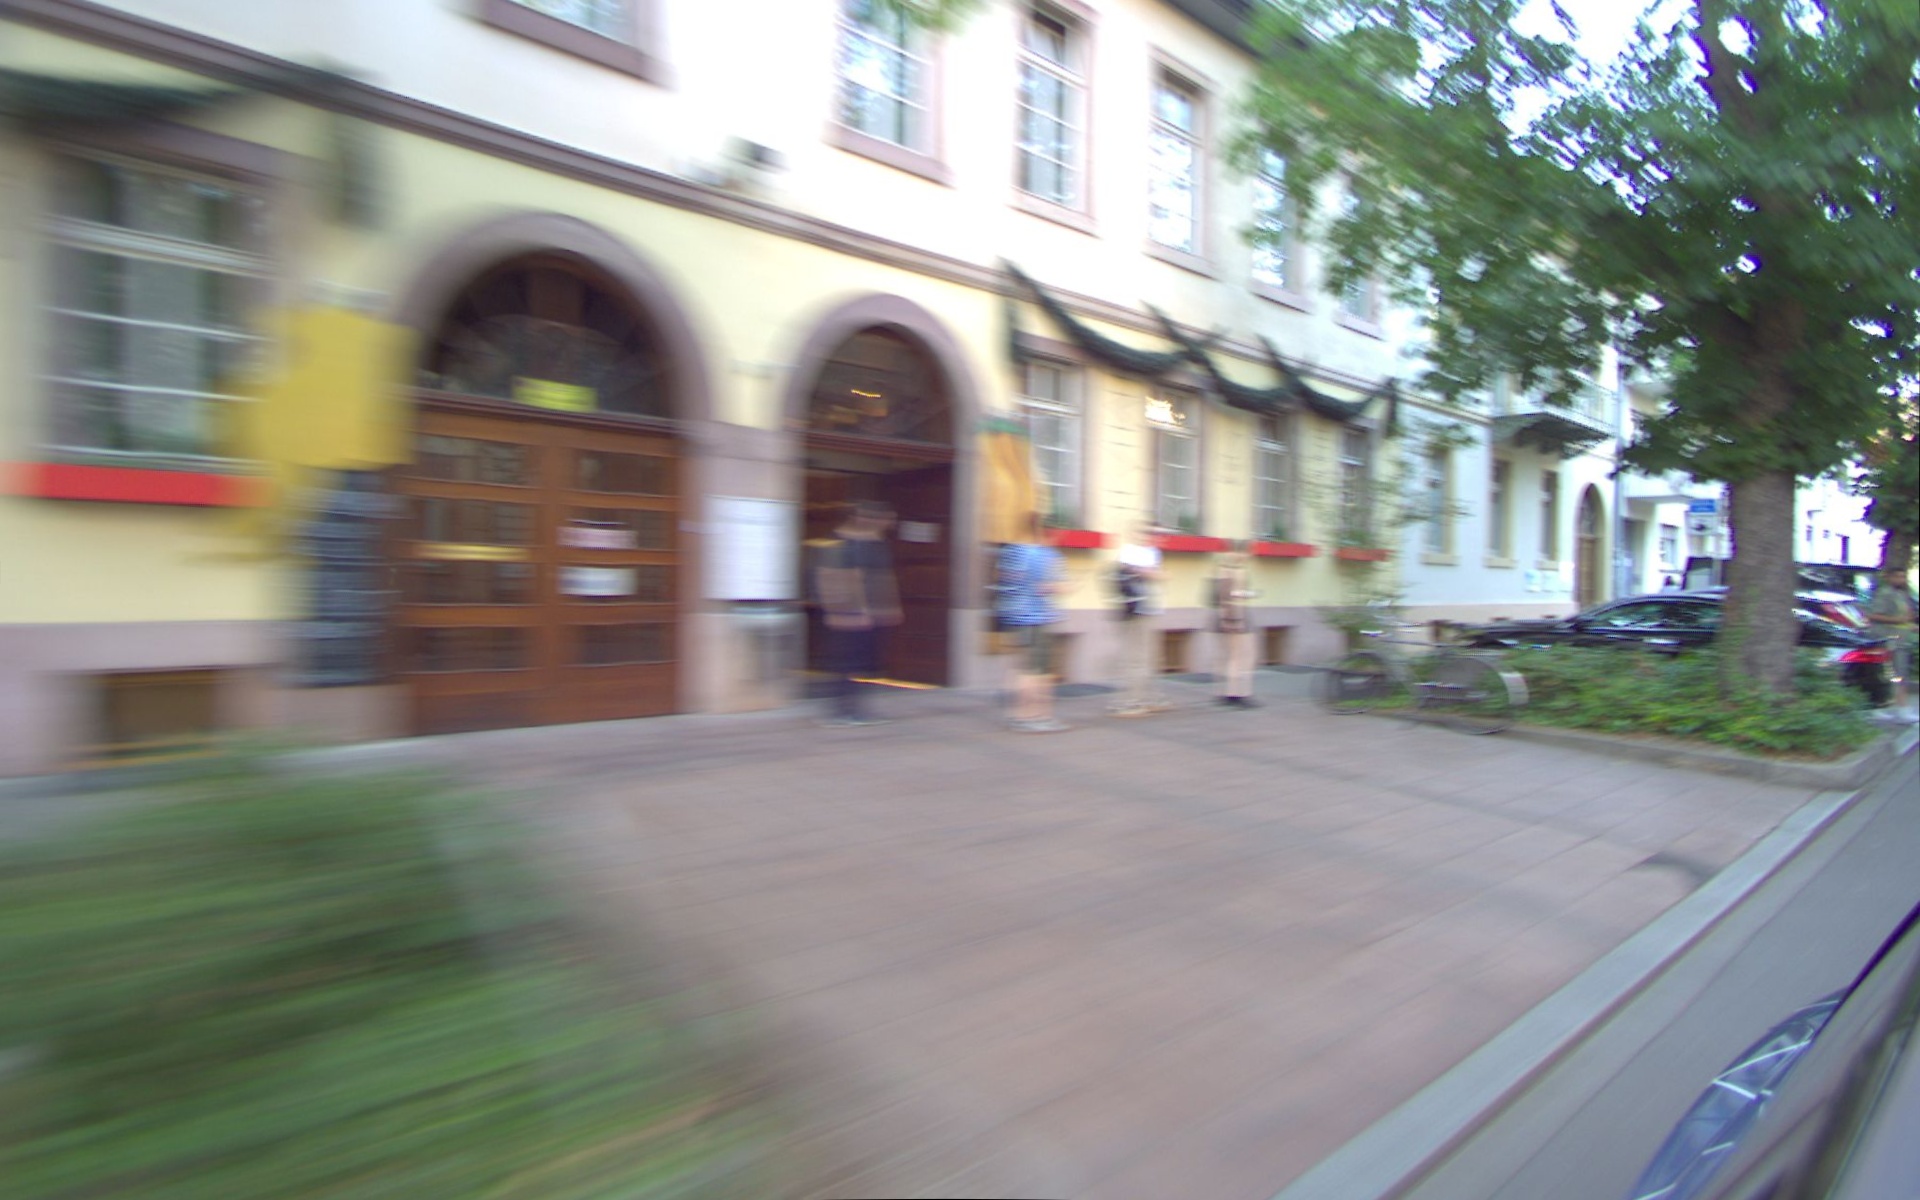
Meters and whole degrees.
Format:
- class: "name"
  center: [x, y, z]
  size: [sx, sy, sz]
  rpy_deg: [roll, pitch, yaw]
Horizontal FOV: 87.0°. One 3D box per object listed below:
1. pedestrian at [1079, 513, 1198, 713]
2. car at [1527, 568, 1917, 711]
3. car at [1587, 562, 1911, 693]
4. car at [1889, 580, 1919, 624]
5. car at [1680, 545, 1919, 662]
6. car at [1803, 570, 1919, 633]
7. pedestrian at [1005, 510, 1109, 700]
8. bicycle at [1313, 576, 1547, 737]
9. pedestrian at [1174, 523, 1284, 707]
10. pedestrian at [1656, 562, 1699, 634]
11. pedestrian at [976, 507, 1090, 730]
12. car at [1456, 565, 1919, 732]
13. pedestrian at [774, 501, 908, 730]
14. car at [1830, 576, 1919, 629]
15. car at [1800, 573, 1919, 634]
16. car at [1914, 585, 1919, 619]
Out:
- class: "pedestrian"
  center: [1.630, 0.107, 9.325]
  size: [0.732, 1.760, 0.716]
  rpy_deg: [2, 2, -21]
- class: "car"
  center: [10.456, 0.409, 14.110]
  size: [1.894, 1.454, 3.995]
  rpy_deg: [-1, 5, -42]
- class: "car"
  center: [12.311, 0.324, 15.972]
  size: [1.684, 1.597, 3.690]
  rpy_deg: [0, 5, -40]
- class: "car"
  center: [37.632, 0.102, 37.793]
  size: [1.926, 1.637, 4.118]
  rpy_deg: [0, 2, -40]
- class: "car"
  center: [17.876, 0.018, 20.687]
  size: [2.002, 2.035, 4.700]
  rpy_deg: [0, 5, -41]
- class: "car"
  center: [27.403, 0.101, 29.047]
  size: [1.911, 1.597, 4.600]
  rpy_deg: [-1, 5, -42]
- class: "pedestrian"
  center: [0.930, 0.039, 9.866]
  size: [0.729, 1.760, 0.729]
  rpy_deg: [2, 2, -14]
- class: "bicycle"
  center: [4.296, 0.456, 9.342]
  size: [1.793, 1.247, 0.664]
  rpy_deg: [5, 4, 40]
- class: "pedestrian"
  center: [2.702, 0.127, 10.180]
  size: [0.713, 1.760, 0.708]
  rpy_deg: [1, 2, -39]
- class: "pedestrian"
  center: [16.641, -0.052, 23.478]
  size: [0.724, 1.619, 0.670]
  rpy_deg: [0, 0, -41]
- class: "pedestrian"
  center: [0.605, 0.133, 8.412]
  size: [0.612, 1.760, 0.616]
  rpy_deg: [1, 2, -41]
- class: "car"
  center: [8.761, 0.422, 12.395]
  size: [1.854, 1.410, 4.409]
  rpy_deg: [-1, 5, -42]
- class: "pedestrian"
  center: [-0.975, 0.098, 8.291]
  size: [0.773, 1.760, 0.676]
  rpy_deg: [4, 2, 33]
- class: "car"
  center: [29.188, 0.136, 30.577]
  size: [1.785, 1.446, 4.087]
  rpy_deg: [0, 5, -38]
- class: "car"
  center: [25.301, 0.112, 27.304]
  size: [1.668, 1.440, 3.801]
  rpy_deg: [-1, 5, -42]
- class: "car"
  center: [42.449, 0.126, 42.003]
  size: [1.762, 1.455, 3.995]
  rpy_deg: [0, 2, -40]
